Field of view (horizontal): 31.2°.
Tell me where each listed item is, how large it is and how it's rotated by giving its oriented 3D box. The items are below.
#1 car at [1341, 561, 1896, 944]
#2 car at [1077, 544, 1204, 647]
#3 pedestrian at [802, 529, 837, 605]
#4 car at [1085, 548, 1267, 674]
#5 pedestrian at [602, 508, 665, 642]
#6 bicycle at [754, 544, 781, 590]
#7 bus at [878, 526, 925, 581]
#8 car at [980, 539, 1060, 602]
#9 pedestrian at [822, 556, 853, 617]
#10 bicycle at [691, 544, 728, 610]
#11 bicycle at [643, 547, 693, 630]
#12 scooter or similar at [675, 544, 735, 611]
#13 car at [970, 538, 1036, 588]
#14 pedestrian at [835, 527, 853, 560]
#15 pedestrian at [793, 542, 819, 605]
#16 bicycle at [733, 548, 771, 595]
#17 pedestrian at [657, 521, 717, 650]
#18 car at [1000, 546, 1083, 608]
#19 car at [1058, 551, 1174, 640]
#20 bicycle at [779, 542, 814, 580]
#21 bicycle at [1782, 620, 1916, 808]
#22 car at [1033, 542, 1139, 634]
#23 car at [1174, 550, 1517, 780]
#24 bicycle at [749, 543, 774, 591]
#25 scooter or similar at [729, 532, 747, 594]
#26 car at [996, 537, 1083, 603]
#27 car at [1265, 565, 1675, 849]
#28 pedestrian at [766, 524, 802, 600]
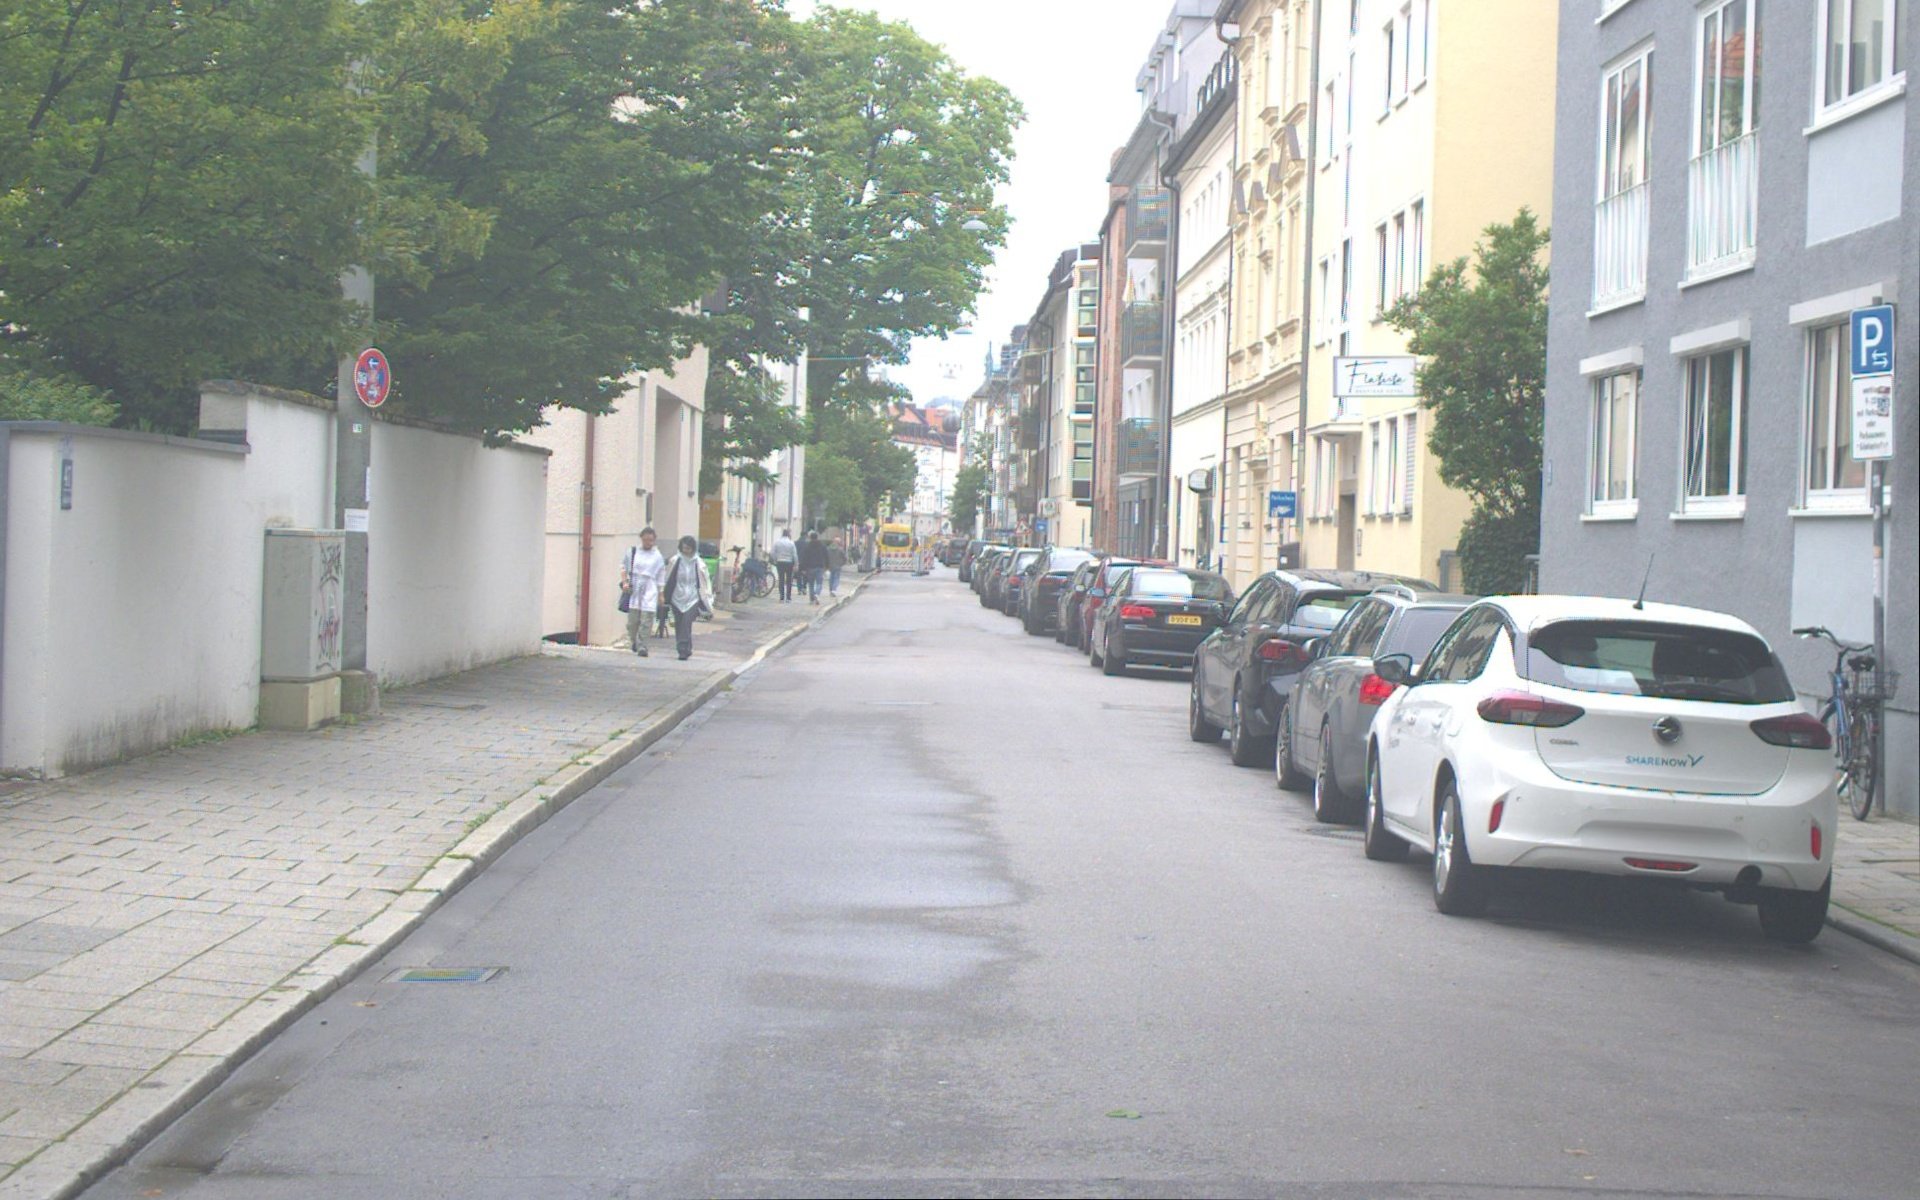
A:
[{"bbox_3d":[3.037,0.625,16.781,1.769,1.440,4.344,5,1,0],"label":"car"},{"bbox_3d":[2.768,-0.100,53.420,1.676,1.487,3.854,2,1,-1],"label":"car"},{"bbox_3d":[-3.356,-0.785,82.237,0.718,1.759,0.838,3,0,0],"label":"pedestrian"},{"bbox_3d":[2.685,0.095,43.672,1.825,1.330,4.509,5,1,-1],"label":"car"},{"bbox_3d":[-4.081,-0.315,42.946,0.613,1.615,0.687,4,1,0],"label":"pedestrian"},{"bbox_3d":[-4.926,-0.844,87.934,0.561,1.155,1.721,2,1,-7],"label":"bicycle"},{"bbox_3d":[-3.312,-2.656,196.939,2.593,3.091,6.306,1,1,0],"label":"bus"},{"bbox_3d":[1.549,-0.787,89.833,1.839,1.523,4.293,2,1,-2],"label":"car"},{"bbox_3d":[-3.406,-0.383,95.526,0.753,1.653,0.906,4,0,-1],"label":"pedestrian"},{"bbox_3d":[-4.588,-0.432,63.011,0.544,1.157,1.882,3,1,-2],"label":"bicycle"},{"bbox_3d":[-4.189,-0.180,49.372,0.537,1.135,1.917,3,1,-2],"label":"bicycle"},{"bbox_3d":[-4.513,-0.395,60.946,0.552,1.140,1.357,4,1,16],"label":"scooter or similar"},{"bbox_3d":[1.415,-1.250,114.495,1.885,1.550,4.392,2,1,-3],"label":"car"},{"bbox_3d":[-5.311,-2.599,157.601,0.756,1.486,0.831,1,0,0],"label":"pedestrian"},{"bbox_3d":[-4.280,-0.739,95.596,0.612,1.707,0.823,4,0,-1],"label":"pedestrian"},{"bbox_3d":[-4.728,-0.647,78.077,0.703,0.981,1.823,6,0,-5],"label":"bicycle"},{"bbox_3d":[-3.412,-0.186,43.004,0.622,1.573,0.714,3,0,-1],"label":"pedestrian"},{"bbox_3d":[1.869,-0.550,80.031,1.808,1.358,3.945,1,1,0],"label":"car"},{"bbox_3d":[2.598,-0.101,58.038,1.676,1.388,4.066,2,1,-1],"label":"car"},{"bbox_3d":[-5.272,-1.260,110.895,0.641,1.213,1.665,1,1,-20],"label":"bicycle"},{"bbox_3d":[5.660,0.706,21.951,0.377,1.106,1.686,1,1,0],"label":"bicycle"},{"bbox_3d":[2.331,-0.262,64.569,1.702,1.601,4.685,2,1,-1],"label":"car"},{"bbox_3d":[2.848,0.432,26.332,1.841,1.423,4.264,5,1,-3],"label":"car"},{"bbox_3d":[-4.982,-0.828,86.217,0.458,1.155,1.605,4,1,0],"label":"bicycle"},{"bbox_3d":[-4.930,-0.818,76.341,0.317,1.371,1.239,1,0,-1],"label":"scooter or similar"},{"bbox_3d":[1.934,-0.756,84.949,1.875,1.565,4.317,0,1,-2],"label":"car"},{"bbox_3d":[3.053,0.576,21.471,1.790,1.396,4.485,5,1,0],"label":"car"},{"bbox_3d":[-4.199,-0.909,82.252,0.718,1.790,0.917,3,0,0],"label":"pedestrian"}]
